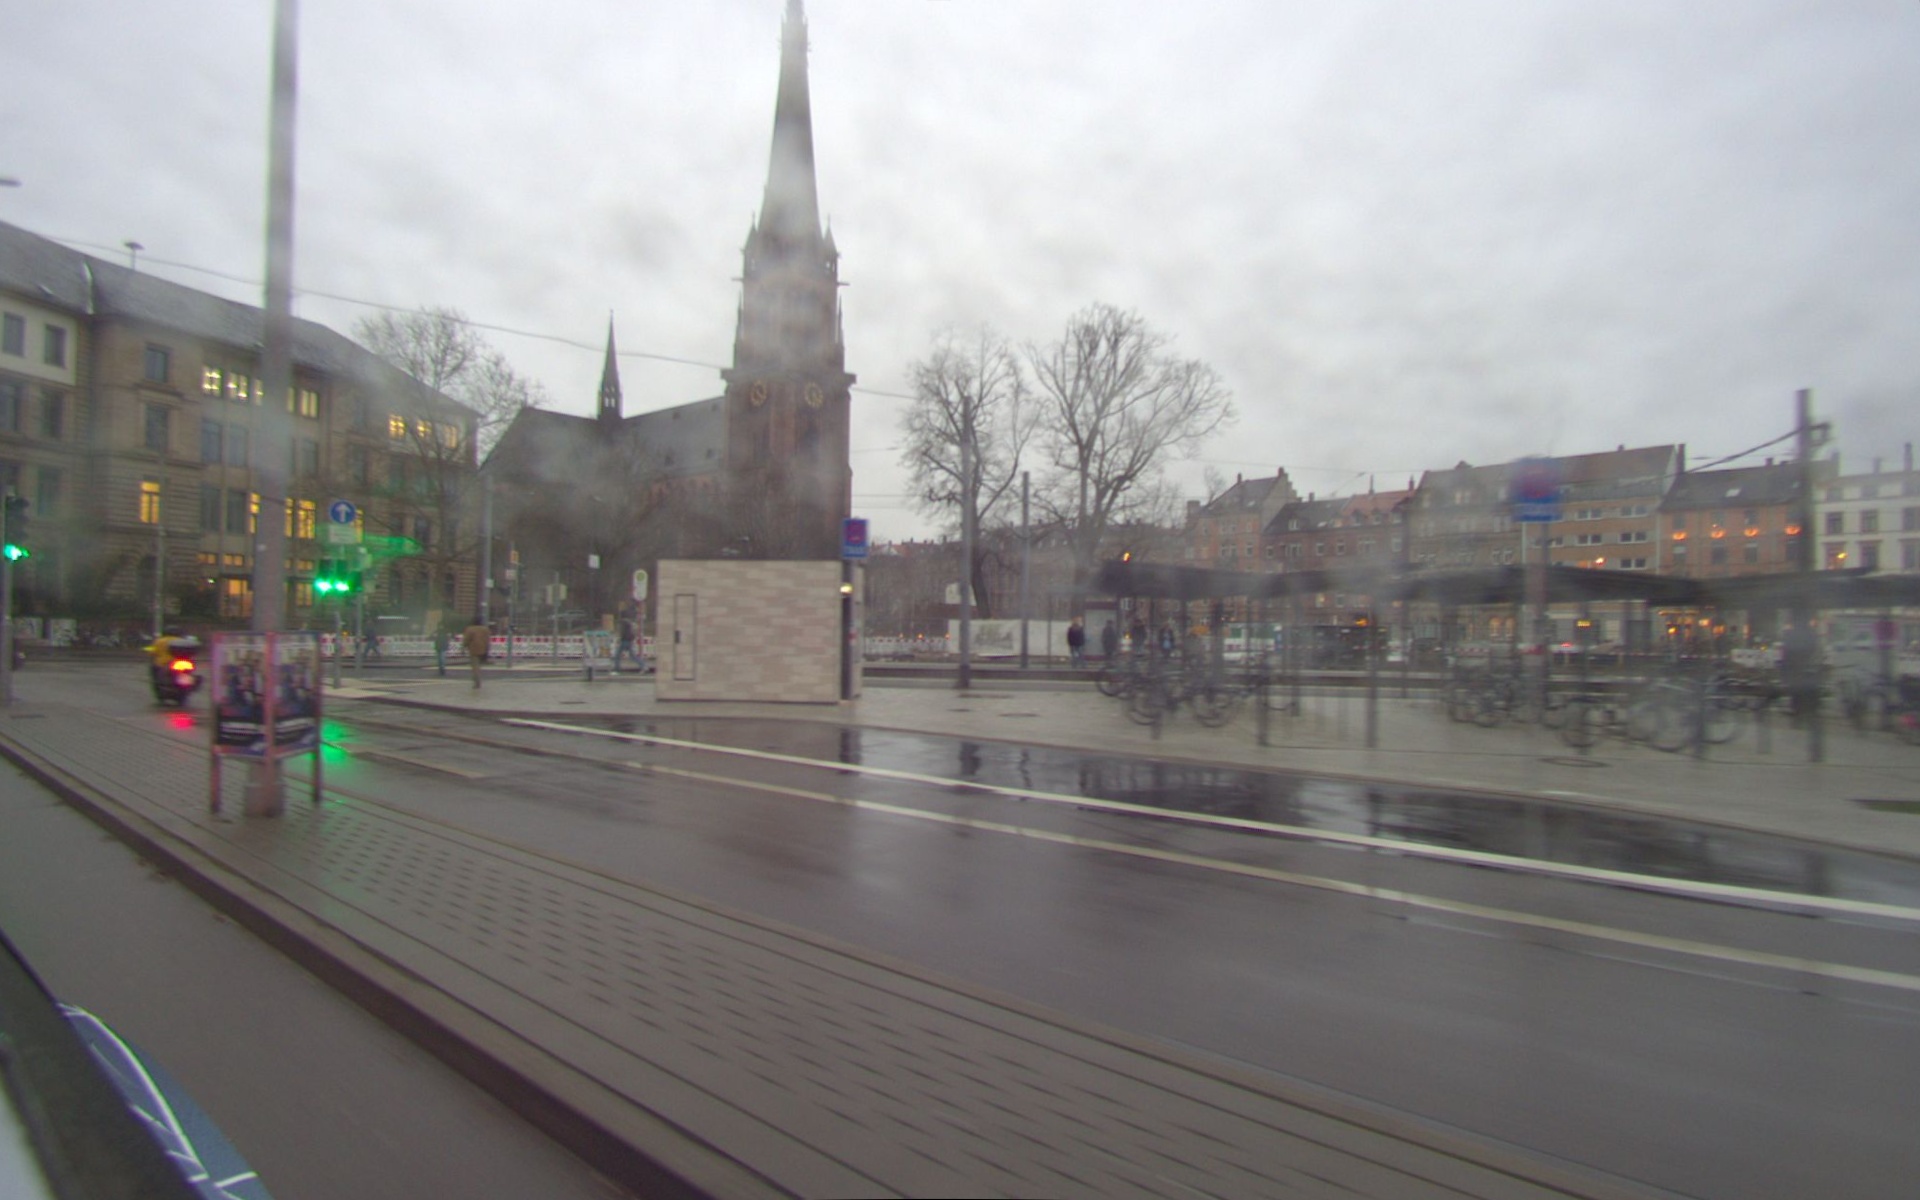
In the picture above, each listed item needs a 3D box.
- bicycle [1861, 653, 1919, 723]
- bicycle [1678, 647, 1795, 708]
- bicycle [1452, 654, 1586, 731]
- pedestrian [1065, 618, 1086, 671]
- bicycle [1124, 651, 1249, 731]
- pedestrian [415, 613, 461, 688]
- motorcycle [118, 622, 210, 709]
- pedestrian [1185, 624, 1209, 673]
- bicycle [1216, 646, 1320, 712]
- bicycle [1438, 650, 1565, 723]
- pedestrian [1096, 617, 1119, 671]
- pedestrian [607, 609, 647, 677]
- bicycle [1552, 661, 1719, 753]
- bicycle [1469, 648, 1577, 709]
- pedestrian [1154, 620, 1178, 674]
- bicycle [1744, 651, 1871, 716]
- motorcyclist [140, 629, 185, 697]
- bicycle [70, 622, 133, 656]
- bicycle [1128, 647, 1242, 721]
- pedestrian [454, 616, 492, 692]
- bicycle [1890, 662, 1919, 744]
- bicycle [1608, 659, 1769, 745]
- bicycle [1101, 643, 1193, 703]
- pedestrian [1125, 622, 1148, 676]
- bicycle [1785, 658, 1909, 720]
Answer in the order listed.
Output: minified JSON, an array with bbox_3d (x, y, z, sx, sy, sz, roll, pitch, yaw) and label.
[{"bbox_3d":[17.379,1.581,18.067,1.879,1.174,0.548,1,0,12],"label":"bicycle"},{"bbox_3d":[16.317,1.621,21.297,1.879,1.174,0.548,1,0,12],"label":"bicycle"},{"bbox_3d":[9.388,1.538,17.050,1.879,1.174,0.548,1,0,12],"label":"bicycle"},{"bbox_3d":[3.982,1.518,34.930,0.709,1.770,0.713,1,0,7],"label":"pedestrian"},{"bbox_3d":[3.617,1.444,16.269,1.922,1.174,0.548,1,0,12],"label":"bicycle"},{"bbox_3d":[-17.055,1.621,33.068,1.062,2.388,0.984,1,1,36],"label":"pedestrian"},{"bbox_3d":[-14.739,1.172,18.711,2.312,1.509,0.821,-1,-2,40],"label":"motorcycle"},{"bbox_3d":[8.107,1.644,34.654,0.709,1.630,0.713,1,0,7],"label":"pedestrian"},{"bbox_3d":[5.964,1.518,19.684,1.879,1.174,0.548,1,0,12],"label":"bicycle"},{"bbox_3d":[9.525,1.513,17.860,1.879,1.174,0.548,1,0,12],"label":"bicycle"},{"bbox_3d":[5.071,1.517,34.803,0.709,1.820,0.713,1,0,7],"label":"pedestrian"},{"bbox_3d":[-9.115,1.165,27.714,0.817,1.827,0.602,1,0,12],"label":"pedestrian"},{"bbox_3d":[9.527,1.499,14.331,1.879,1.174,0.548,1,0,12],"label":"bicycle"},{"bbox_3d":[11.837,1.636,21.308,1.879,1.174,0.548,1,0,12],"label":"bicycle"},{"bbox_3d":[7.031,1.595,34.559,0.709,1.820,0.713,1,0,7],"label":"pedestrian"},{"bbox_3d":[16.749,1.640,20.034,1.879,1.174,0.548,1,0,12],"label":"bicycle"},{"bbox_3d":[-14.720,1.151,18.676,0.610,1.202,0.530,1,1,40],"label":"motorcyclist"},{"bbox_3d":[-43.643,1.968,51.477,2.388,1.701,0.715,0,1,-33],"label":"bicycle"},{"bbox_3d":[3.860,1.425,17.439,1.879,1.174,0.548,1,0,12],"label":"bicycle"},{"bbox_3d":[-11.093,1.209,23.058,0.663,1.686,0.732,1,0,-18],"label":"pedestrian"},{"bbox_3d":[15.179,1.558,15.107,1.879,1.174,0.548,1,0,12],"label":"bicycle"},{"bbox_3d":[10.910,1.514,15.207,1.879,1.174,0.548,1,0,12],"label":"bicycle"},{"bbox_3d":[3.924,1.527,21.284,1.879,1.174,0.548,1,0,12],"label":"bicycle"},{"bbox_3d":[6.027,1.662,34.527,0.709,1.820,0.713,1,0,7],"label":"pedestrian"},{"bbox_3d":[18.280,1.816,20.896,1.879,1.174,0.548,1,0,12],"label":"bicycle"}]
